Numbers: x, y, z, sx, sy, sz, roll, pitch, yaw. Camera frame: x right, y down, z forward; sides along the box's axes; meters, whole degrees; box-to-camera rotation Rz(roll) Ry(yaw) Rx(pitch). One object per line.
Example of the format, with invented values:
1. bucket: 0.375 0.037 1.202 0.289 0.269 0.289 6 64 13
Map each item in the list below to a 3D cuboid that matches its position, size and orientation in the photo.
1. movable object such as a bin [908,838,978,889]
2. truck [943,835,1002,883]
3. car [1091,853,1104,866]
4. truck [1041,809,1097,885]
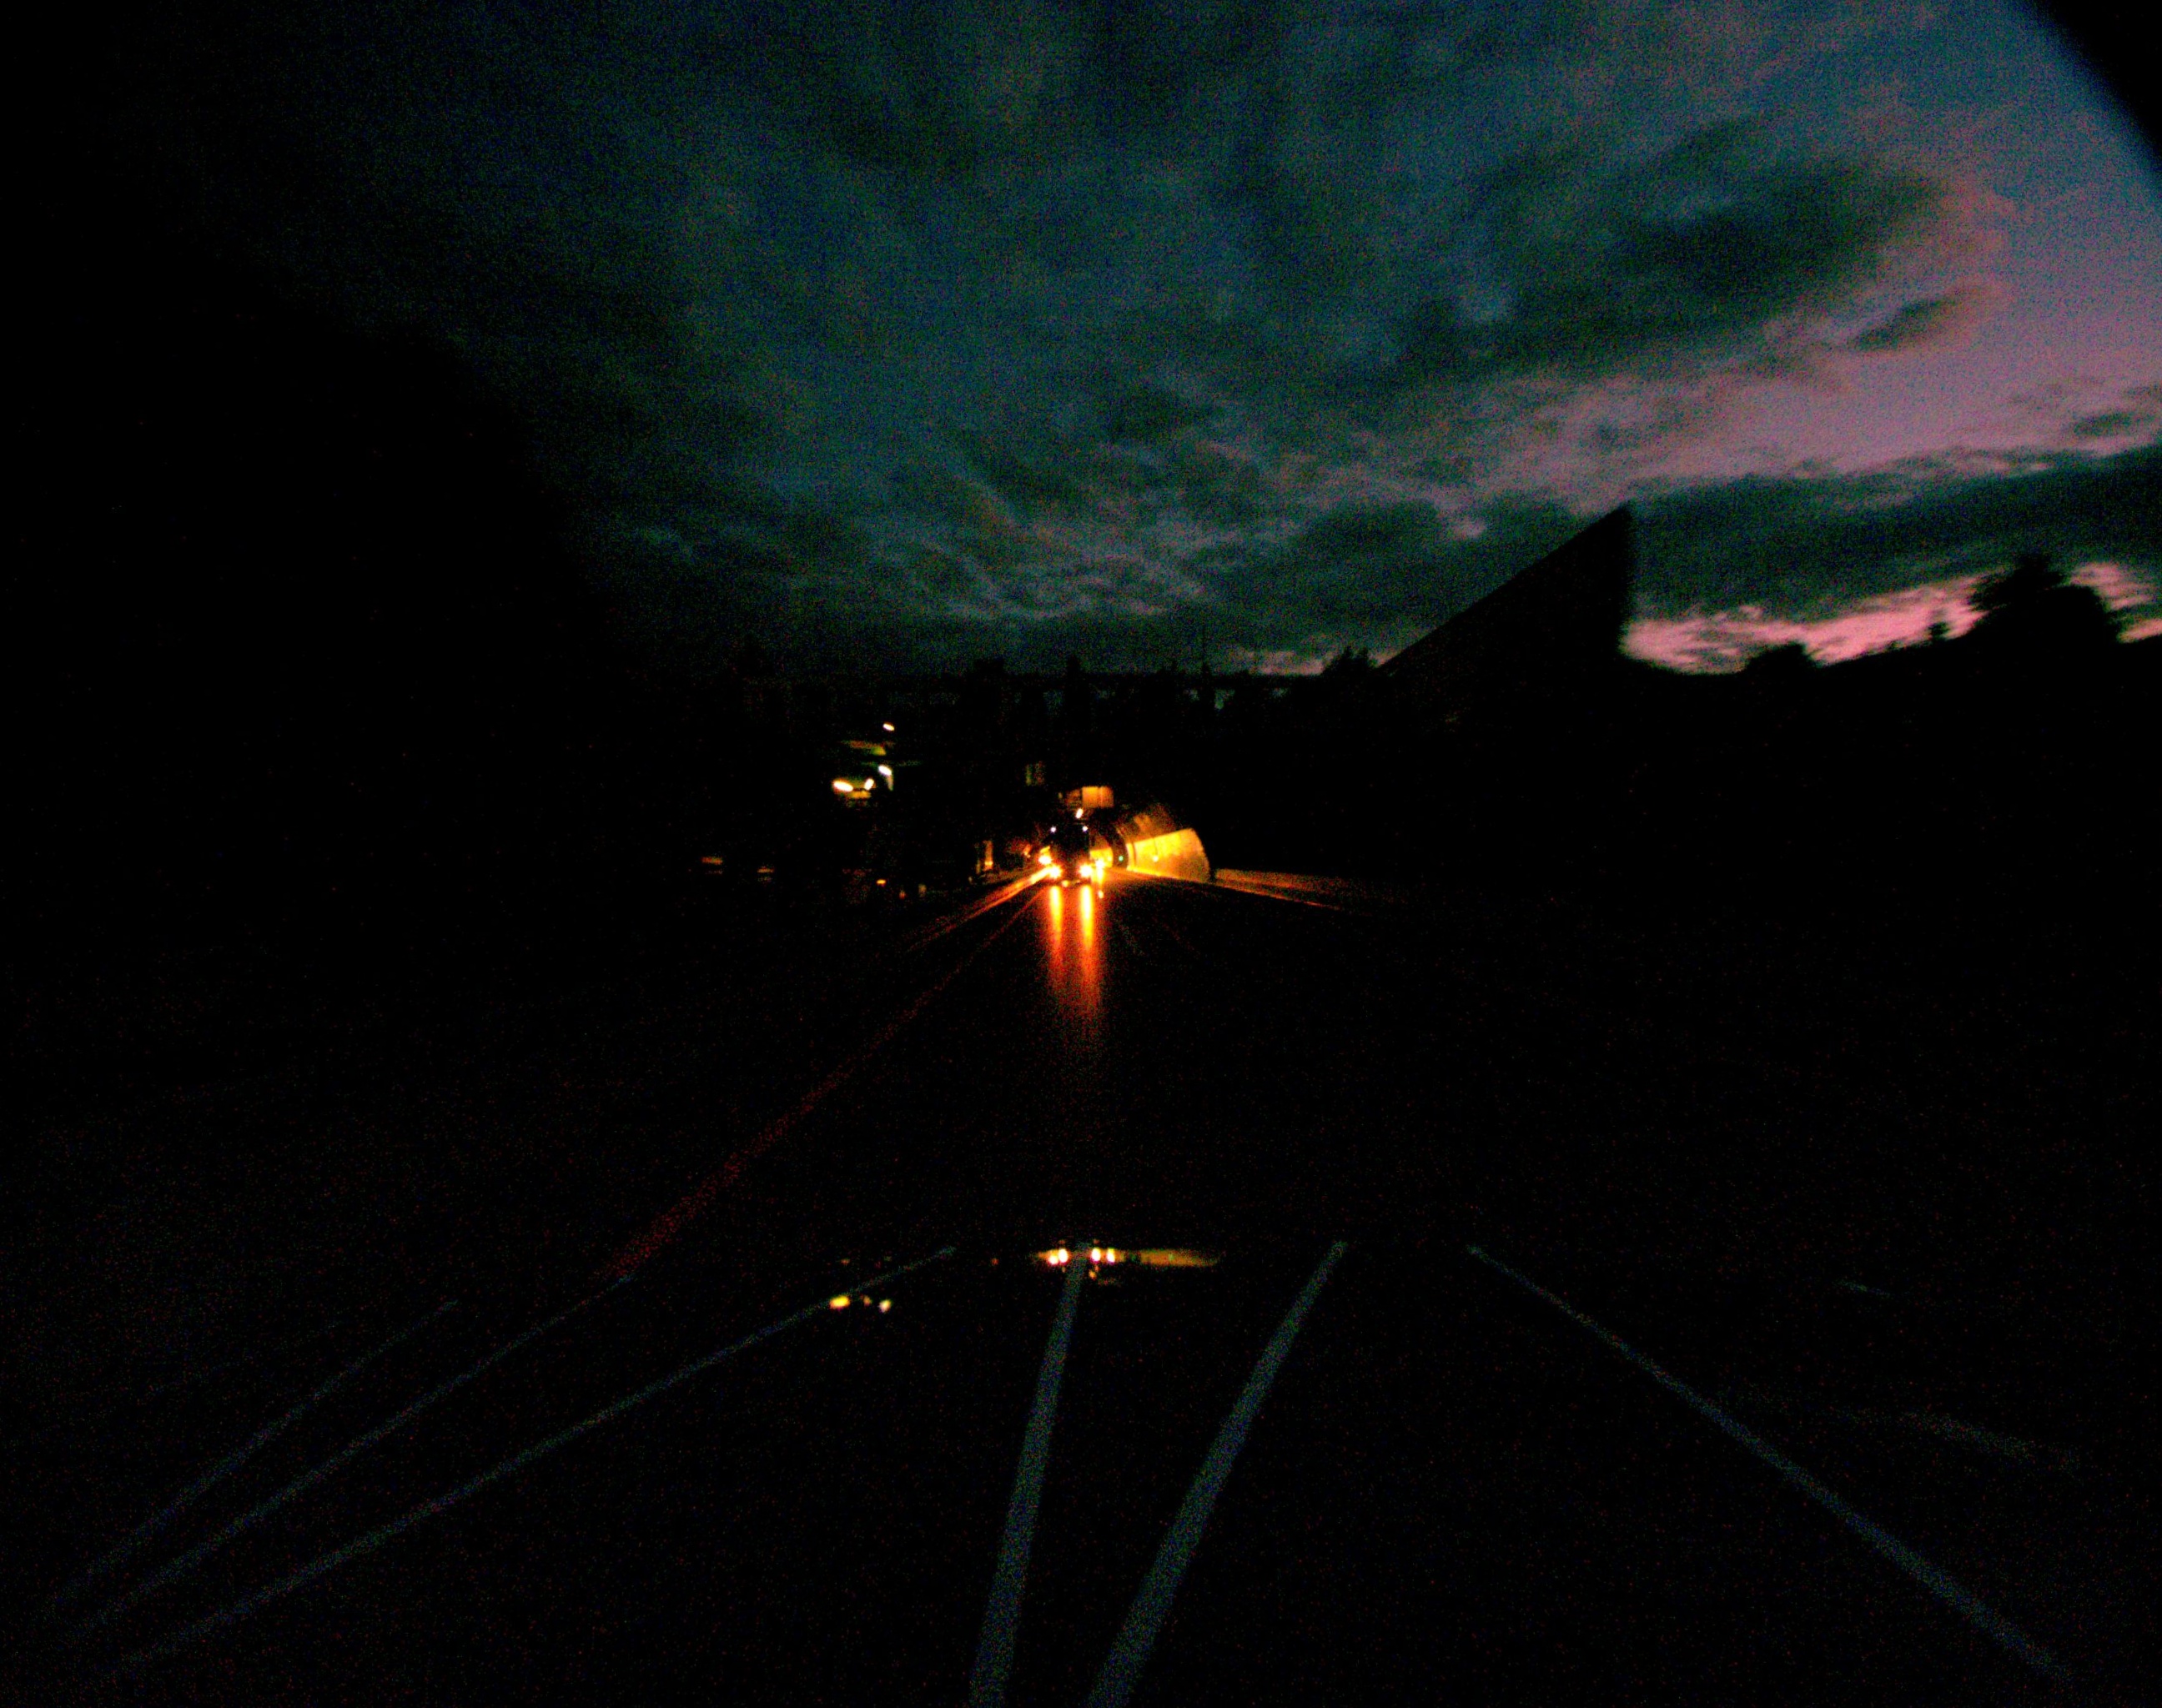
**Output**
1. movable object such as a bin: -8.396 0.520 47.102 2.978 2.811 7.195 -3 1 -1
2. truck: -8.036 0.303 57.265 2.825 3.267 8.352 -3 1 2
3. car: 2.226 0.681 101.505 1.663 1.586 3.996 -3 1 1
4. truck: -0.571 -0.456 49.646 2.953 4.241 11.052 -3 1 2
